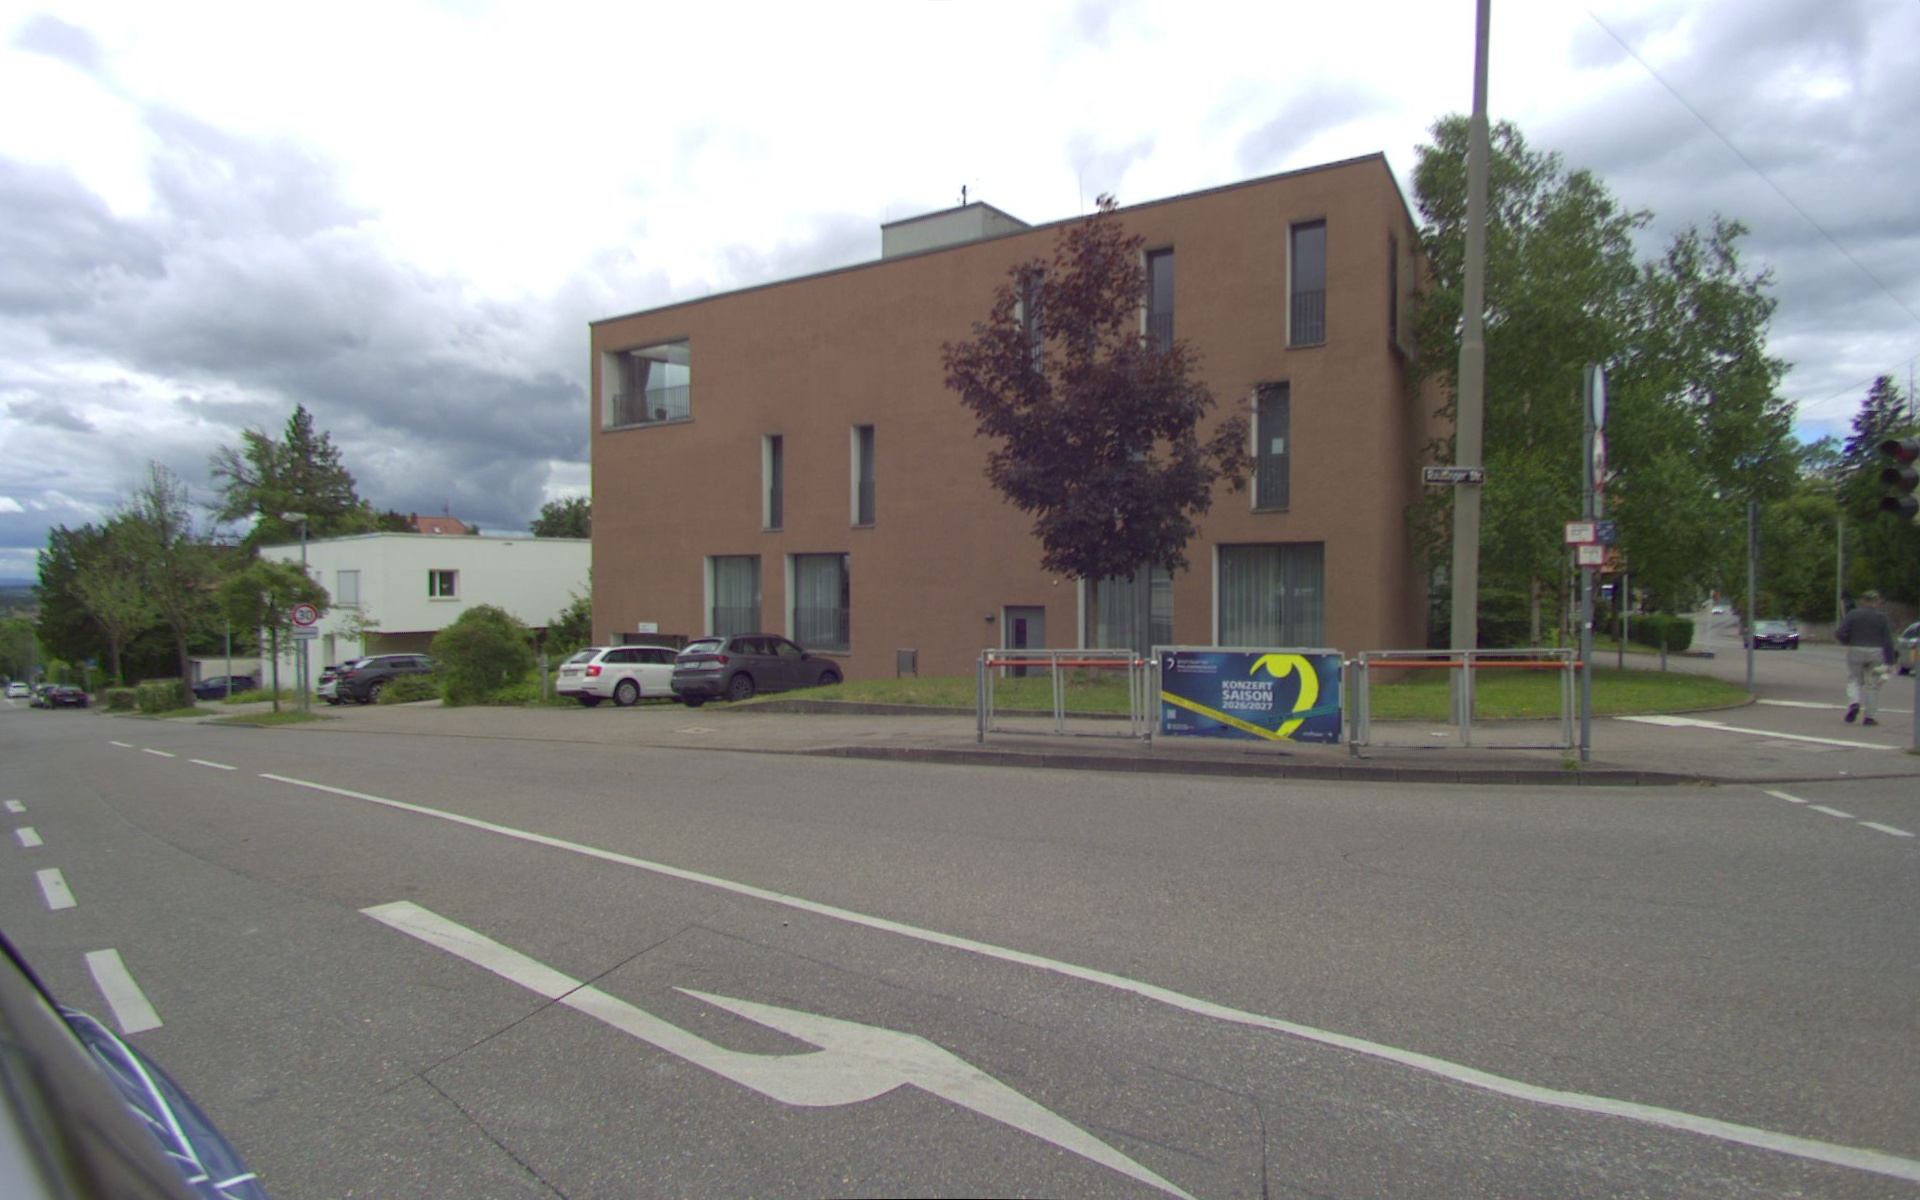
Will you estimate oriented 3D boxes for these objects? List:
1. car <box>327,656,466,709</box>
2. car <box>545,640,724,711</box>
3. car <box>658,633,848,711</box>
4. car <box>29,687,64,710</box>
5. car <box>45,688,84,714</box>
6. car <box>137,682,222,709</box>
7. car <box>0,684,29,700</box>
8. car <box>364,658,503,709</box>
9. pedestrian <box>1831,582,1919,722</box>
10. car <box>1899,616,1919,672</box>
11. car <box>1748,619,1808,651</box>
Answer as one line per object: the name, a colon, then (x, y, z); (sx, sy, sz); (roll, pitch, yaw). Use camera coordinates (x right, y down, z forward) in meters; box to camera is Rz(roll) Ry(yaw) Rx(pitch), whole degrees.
car: (-19.972, 2.895, 35.941); (1.793, 1.608, 3.943); (-6, -4, 43)
car: (-7.996, 1.834, 25.128); (1.724, 1.497, 3.950); (-5, -4, 37)
car: (-4.515, 1.567, 22.539); (1.724, 1.497, 3.950); (-5, -4, 37)
car: (-61.552, 6.623, 68.156); (1.638, 1.432, 4.371); (0, -4, -44)
car: (-54.930, 6.165, 62.077); (1.638, 1.432, 4.003); (0, -4, -44)
car: (-46.967, 5.733, 60.942); (3.939, 1.296, 1.665); (0, -4, -43)
car: (-95.899, 9.291, 102.365); (4.362, 1.432, 1.861); (-3, -3, 38)
car: (-18.229, 2.875, 35.155); (1.727, 1.497, 3.943); (-6, -4, 43)
pedestrian: (11.224, 0.634, 12.414); (0.729, 1.646, 0.684); (1, -3, -43)
car: (25.127, 1.121, 25.224); (1.704, 1.424, 4.377); (-2, -1, 32)
car: (41.640, 1.763, 51.603); (1.825, 1.547, 3.957); (-1, -2, 31)
